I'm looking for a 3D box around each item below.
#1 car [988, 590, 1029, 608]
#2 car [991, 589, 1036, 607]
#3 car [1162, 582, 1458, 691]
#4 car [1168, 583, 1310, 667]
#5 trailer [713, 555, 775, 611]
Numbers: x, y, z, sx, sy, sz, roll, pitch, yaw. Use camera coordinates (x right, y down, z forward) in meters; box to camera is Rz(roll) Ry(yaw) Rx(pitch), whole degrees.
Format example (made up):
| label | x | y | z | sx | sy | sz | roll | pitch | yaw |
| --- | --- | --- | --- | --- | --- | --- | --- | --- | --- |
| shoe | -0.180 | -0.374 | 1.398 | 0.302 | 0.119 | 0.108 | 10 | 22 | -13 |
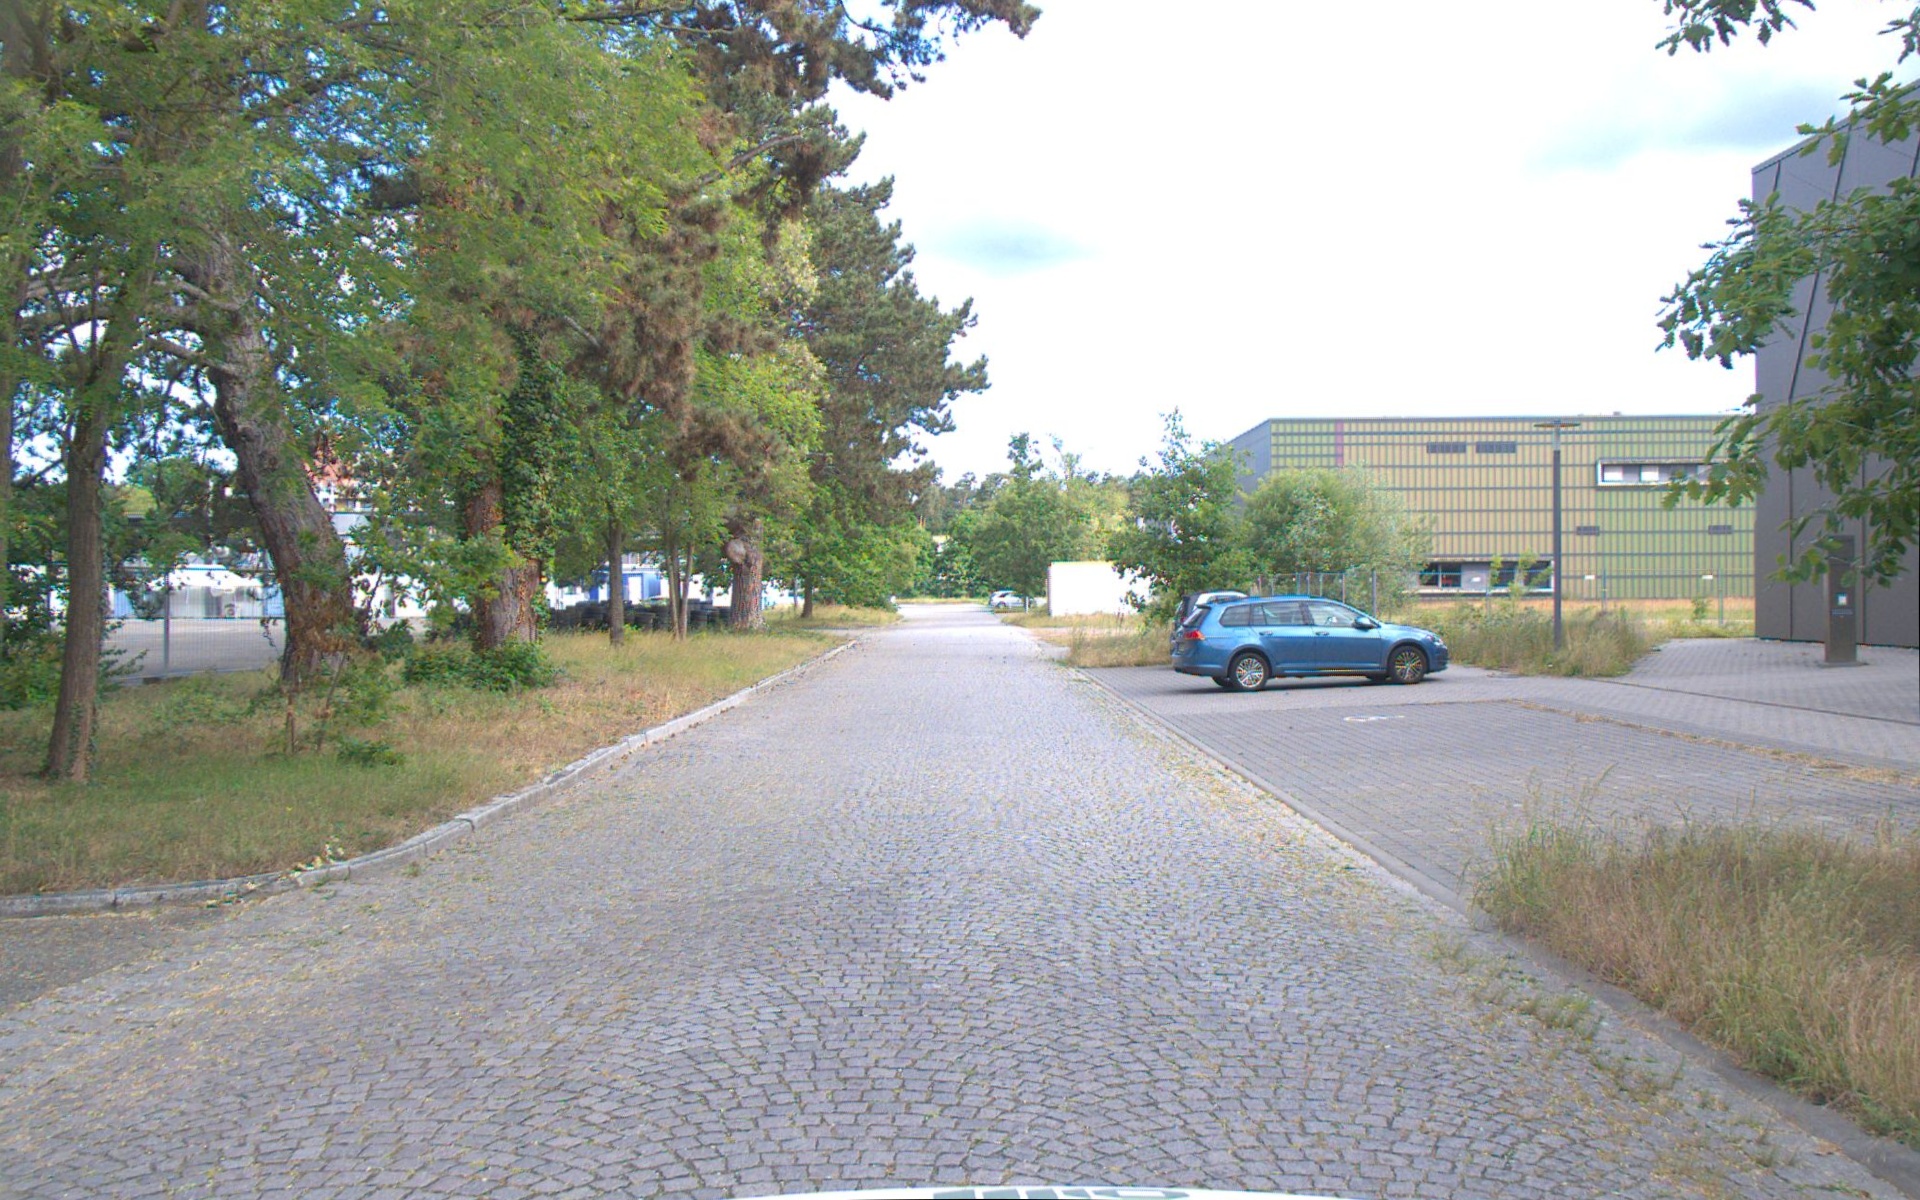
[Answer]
| label | x | y | z | sx | sy | sz | roll | pitch | yaw |
| --- | --- | --- | --- | --- | --- | --- | --- | --- | --- |
| car | 4.220 | -0.060 | 144.389 | 3.450 | 1.386 | 1.622 | -2 | 0 | 0 |
| car | 4.740 | -0.186 | 147.086 | 3.903 | 1.473 | 1.653 | -3 | 0 | 0 |
| car | 5.687 | 0.578 | 27.241 | 4.401 | 1.501 | 1.829 | -3 | 0 | -3 |
| car | 5.821 | 0.503 | 34.751 | 2.654 | 1.583 | 1.654 | -3 | 0 | 1 |
| trailer | -14.816 | -1.166 | 114.130 | 2.571 | 3.661 | 10.180 | 0 | 0 | 2 |
